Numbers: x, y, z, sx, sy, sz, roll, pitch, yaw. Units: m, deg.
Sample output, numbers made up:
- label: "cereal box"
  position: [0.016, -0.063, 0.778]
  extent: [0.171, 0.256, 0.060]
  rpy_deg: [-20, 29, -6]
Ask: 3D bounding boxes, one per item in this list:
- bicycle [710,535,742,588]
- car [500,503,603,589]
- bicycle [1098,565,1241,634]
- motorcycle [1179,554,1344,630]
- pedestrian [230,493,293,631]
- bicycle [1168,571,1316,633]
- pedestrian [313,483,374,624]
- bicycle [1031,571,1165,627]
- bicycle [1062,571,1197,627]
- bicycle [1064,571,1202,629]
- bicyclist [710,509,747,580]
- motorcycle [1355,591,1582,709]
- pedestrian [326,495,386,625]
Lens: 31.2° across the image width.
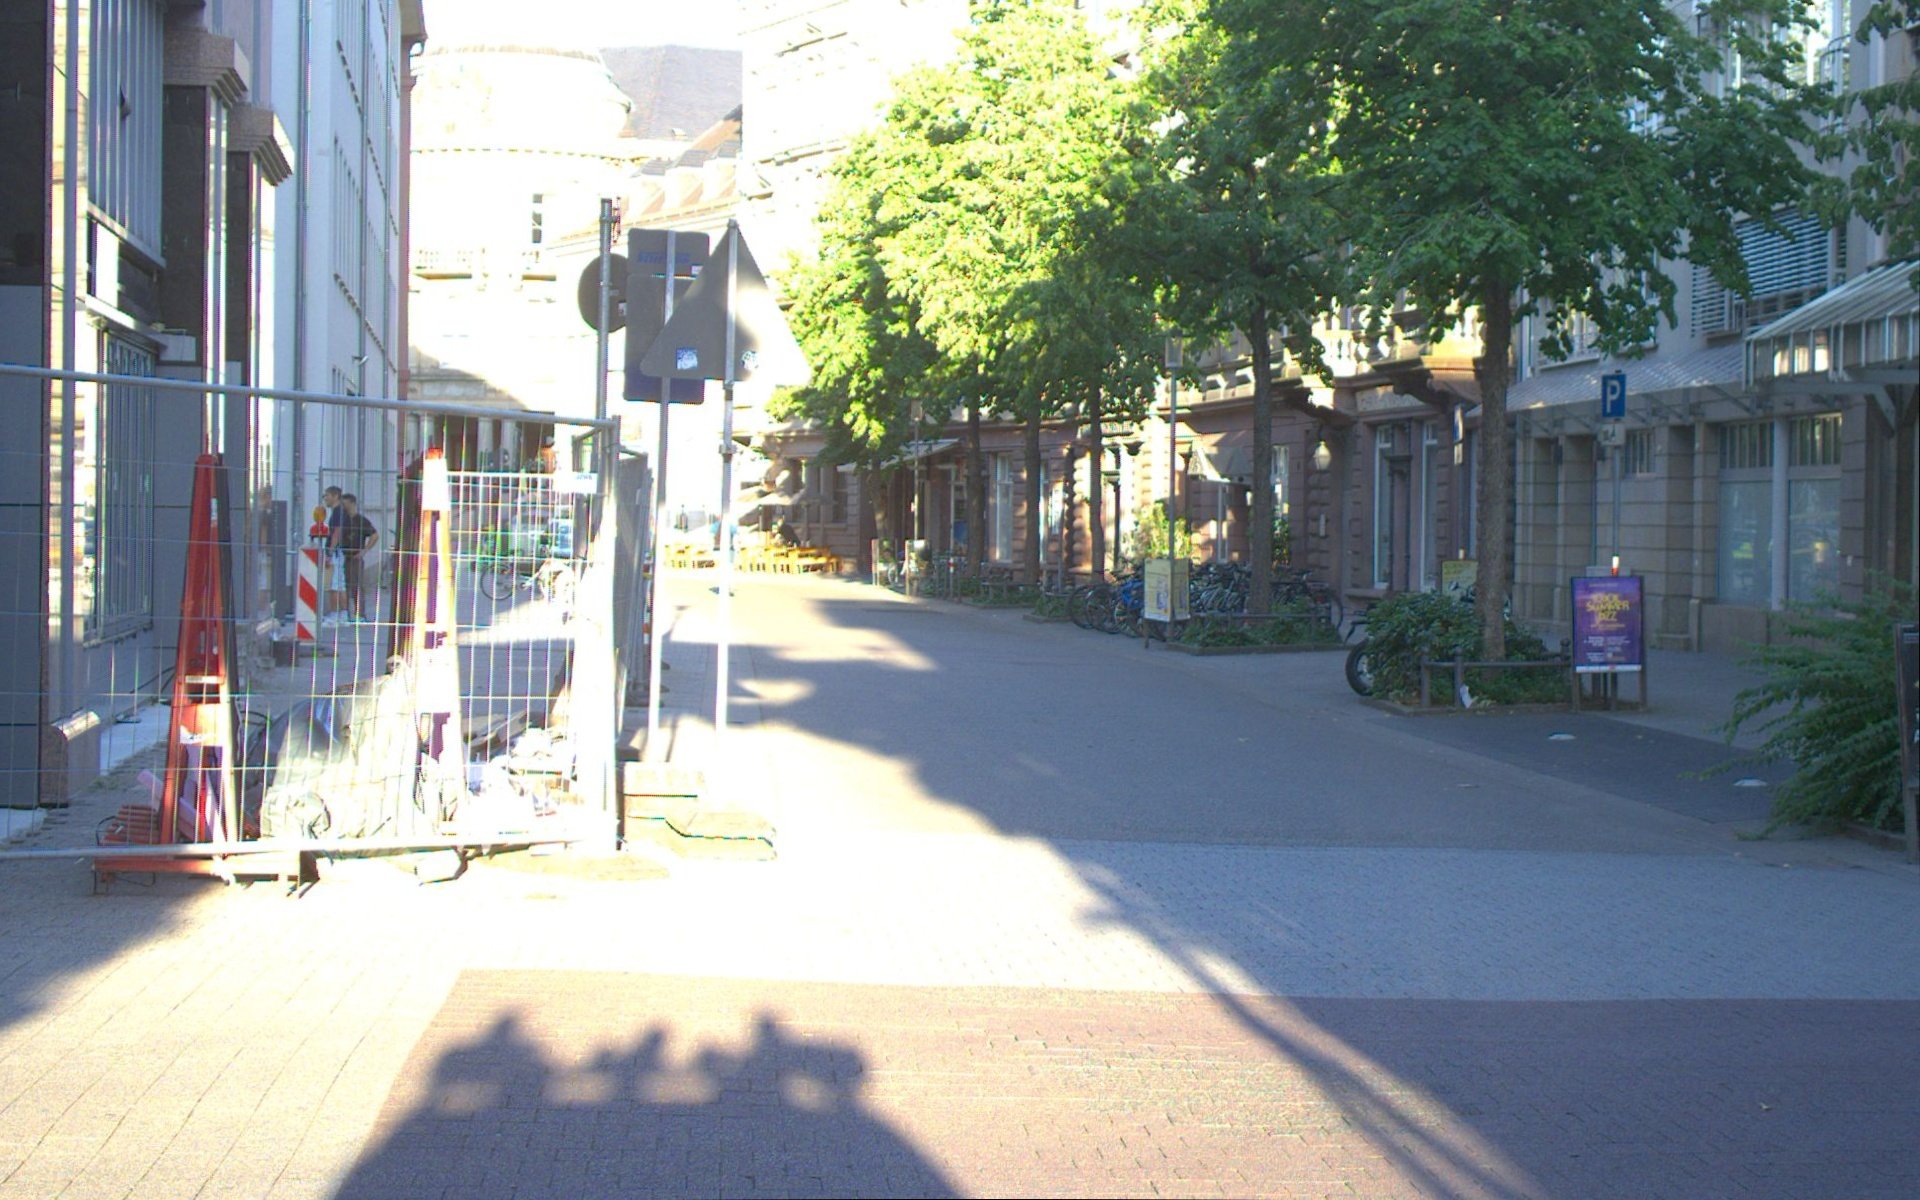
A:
- label: "bicycle"
  position: [-4.909, -0.814, 71.985]
  extent: [0.588, 1.091, 2.160]
  rpy_deg: [0, 1, -6]
- label: "car"
  position: [-8.225, -1.089, 68.970]
  extent: [1.841, 1.678, 3.646]
  rpy_deg: [0, 1, -10]
- label: "bicycle"
  position: [3.248, -0.010, 53.274]
  extent: [2.154, 1.057, 0.590]
  rpy_deg: [0, 0, 9]
- label: "motorcycle"
  position: [4.427, -0.124, 50.377]
  extent: [2.470, 1.091, 0.591]
  rpy_deg: [0, 0, -27]
- label: "pedestrian"
  position: [-8.778, -0.481, 43.219]
  extent: [0.654, 1.720, 0.634]
  rpy_deg: [0, 1, 0]
- label: "bicycle"
  position: [4.221, 0.027, 51.403]
  extent: [2.152, 0.922, 0.591]
  rpy_deg: [0, 0, -20]
- label: "pedestrian"
  position: [-7.769, -0.593, 43.366]
  extent: [0.654, 1.758, 0.634]
  rpy_deg: [0, 1, 0]
- label: "bicycle"
  position: [2.310, -0.021, 57.540]
  extent: [2.152, 0.922, 0.591]
  rpy_deg: [0, 0, -12]
- label: "bicycle"
  position: [2.796, -0.019, 56.699]
  extent: [2.152, 0.922, 0.591]
  rpy_deg: [0, 0, -12]
- label: "bicycle"
  position: [2.796, 0.002, 55.539]
  extent: [2.152, 0.922, 0.591]
  rpy_deg: [0, 0, -12]
- label: "bicyclist"
  position: [-4.849, -1.161, 71.865]
  extent: [0.721, 1.463, 0.718]
  rpy_deg: [0, 1, -7]
- label: "motorcycle"
  position: [5.002, 0.491, 33.864]
  extent: [2.152, 1.147, 0.494]
  rpy_deg: [0, 0, -8]
- label: "pedestrian"
  position: [-7.727, -0.511, 43.981]
  extent: [0.654, 1.646, 0.634]
  rpy_deg: [0, 1, 0]
